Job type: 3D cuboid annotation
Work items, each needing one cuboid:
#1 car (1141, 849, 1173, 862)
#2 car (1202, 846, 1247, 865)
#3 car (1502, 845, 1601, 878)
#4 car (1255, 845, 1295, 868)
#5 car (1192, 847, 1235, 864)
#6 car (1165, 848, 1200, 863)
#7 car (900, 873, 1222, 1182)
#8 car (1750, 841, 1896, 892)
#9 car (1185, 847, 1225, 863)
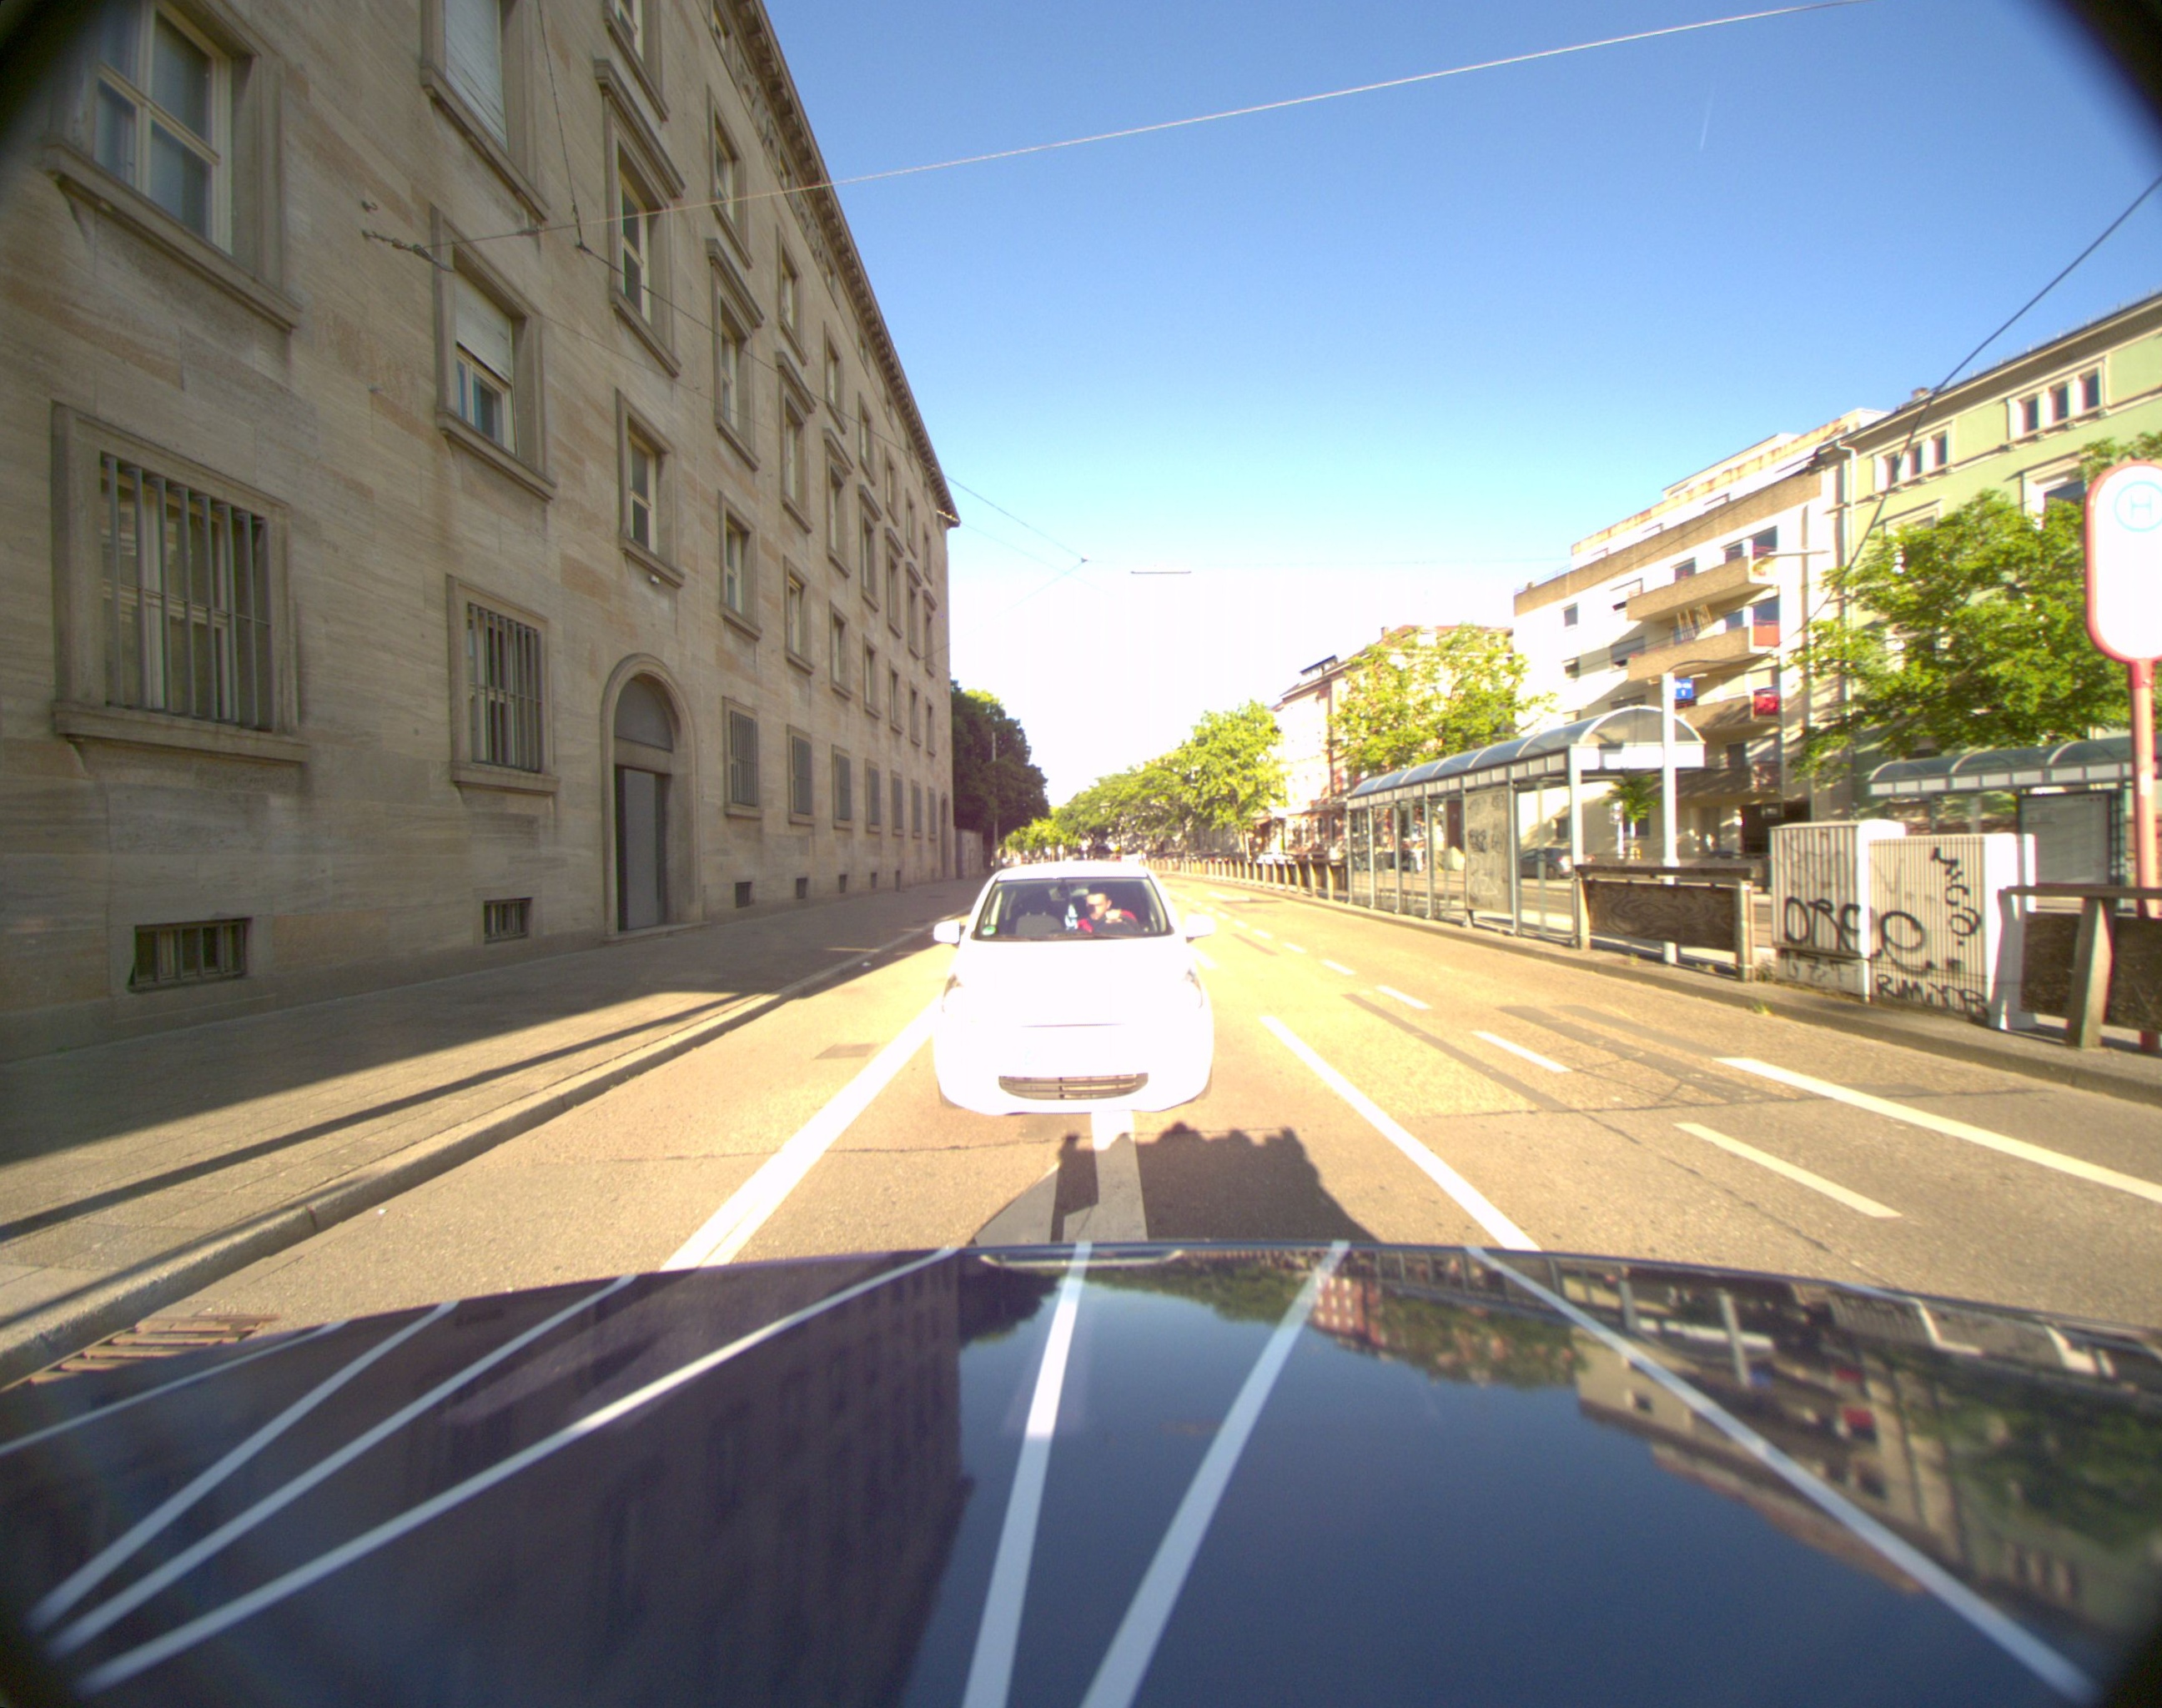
[{"bbox_3d":[9.564,0.143,95.707,3.864,1.583,2.001,-1,0,4],"label":"car"},{"bbox_3d":[13.637,0.140,72.584,3.996,1.674,2.000,-1,0,4],"label":"car"},{"bbox_3d":[20.846,0.325,33.826,1.615,1.387,3.516,-1,0,-19],"label":"car"},{"bbox_3d":[16.305,0.174,63.669,1.994,1.713,4.007,0,2,34],"label":"car"},{"bbox_3d":[13.351,0.125,76.718,3.996,1.674,2.000,-1,0,4],"label":"car"},{"bbox_3d":[11.437,0.157,86.081,3.864,1.583,2.001,-1,0,5],"label":"car"},{"bbox_3d":[-0.078,0.929,5.694,1.612,1.450,3.667,-1,0,1],"label":"car"},{"bbox_3d":[23.935,0.377,24.543,3.796,1.526,1.772,-1,0,-17],"label":"car"},{"bbox_3d":[13.158,0.097,80.522,3.996,1.674,2.000,-1,0,4],"label":"car"}]
